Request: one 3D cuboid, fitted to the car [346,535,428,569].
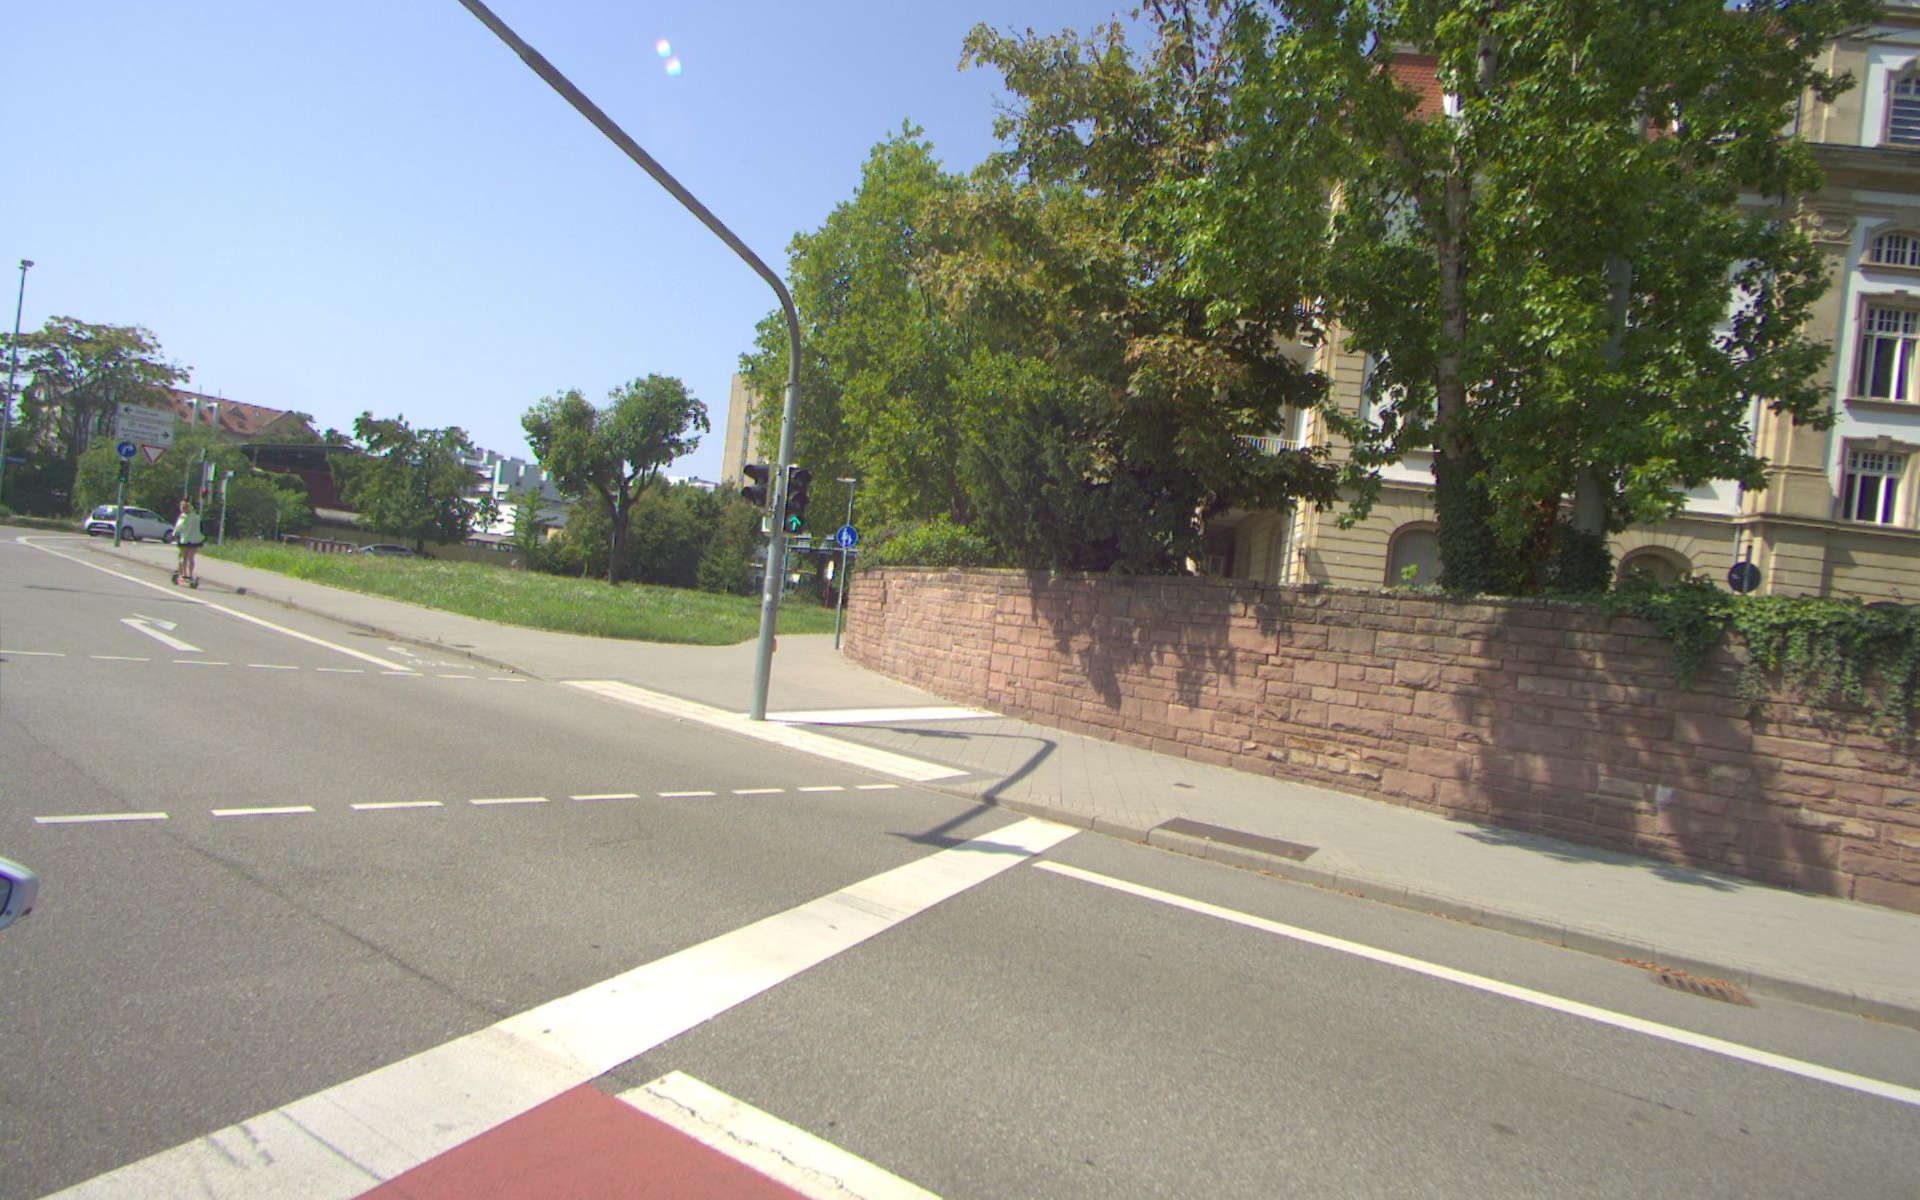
[{"bbox_3d":[-35.815,-2.996,62.943,1.798,1.584,3.980,7,0,42],"label":"car"}]

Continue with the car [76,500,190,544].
[{"bbox_3d":[-37.228,-3.478,45.435,1.814,1.408,3.999,7,0,-2],"label":"car"}]

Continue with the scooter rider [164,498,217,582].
[{"bbox_3d":[-17.674,-1.372,23.109,0.548,1.797,0.760,7,1,44],"label":"scooter rider"}]

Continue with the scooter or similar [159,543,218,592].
[{"bbox_3d":[-17.660,-0.760,23.010,1.599,0.937,0.770,7,-1,44],"label":"scooter or similar"}]
